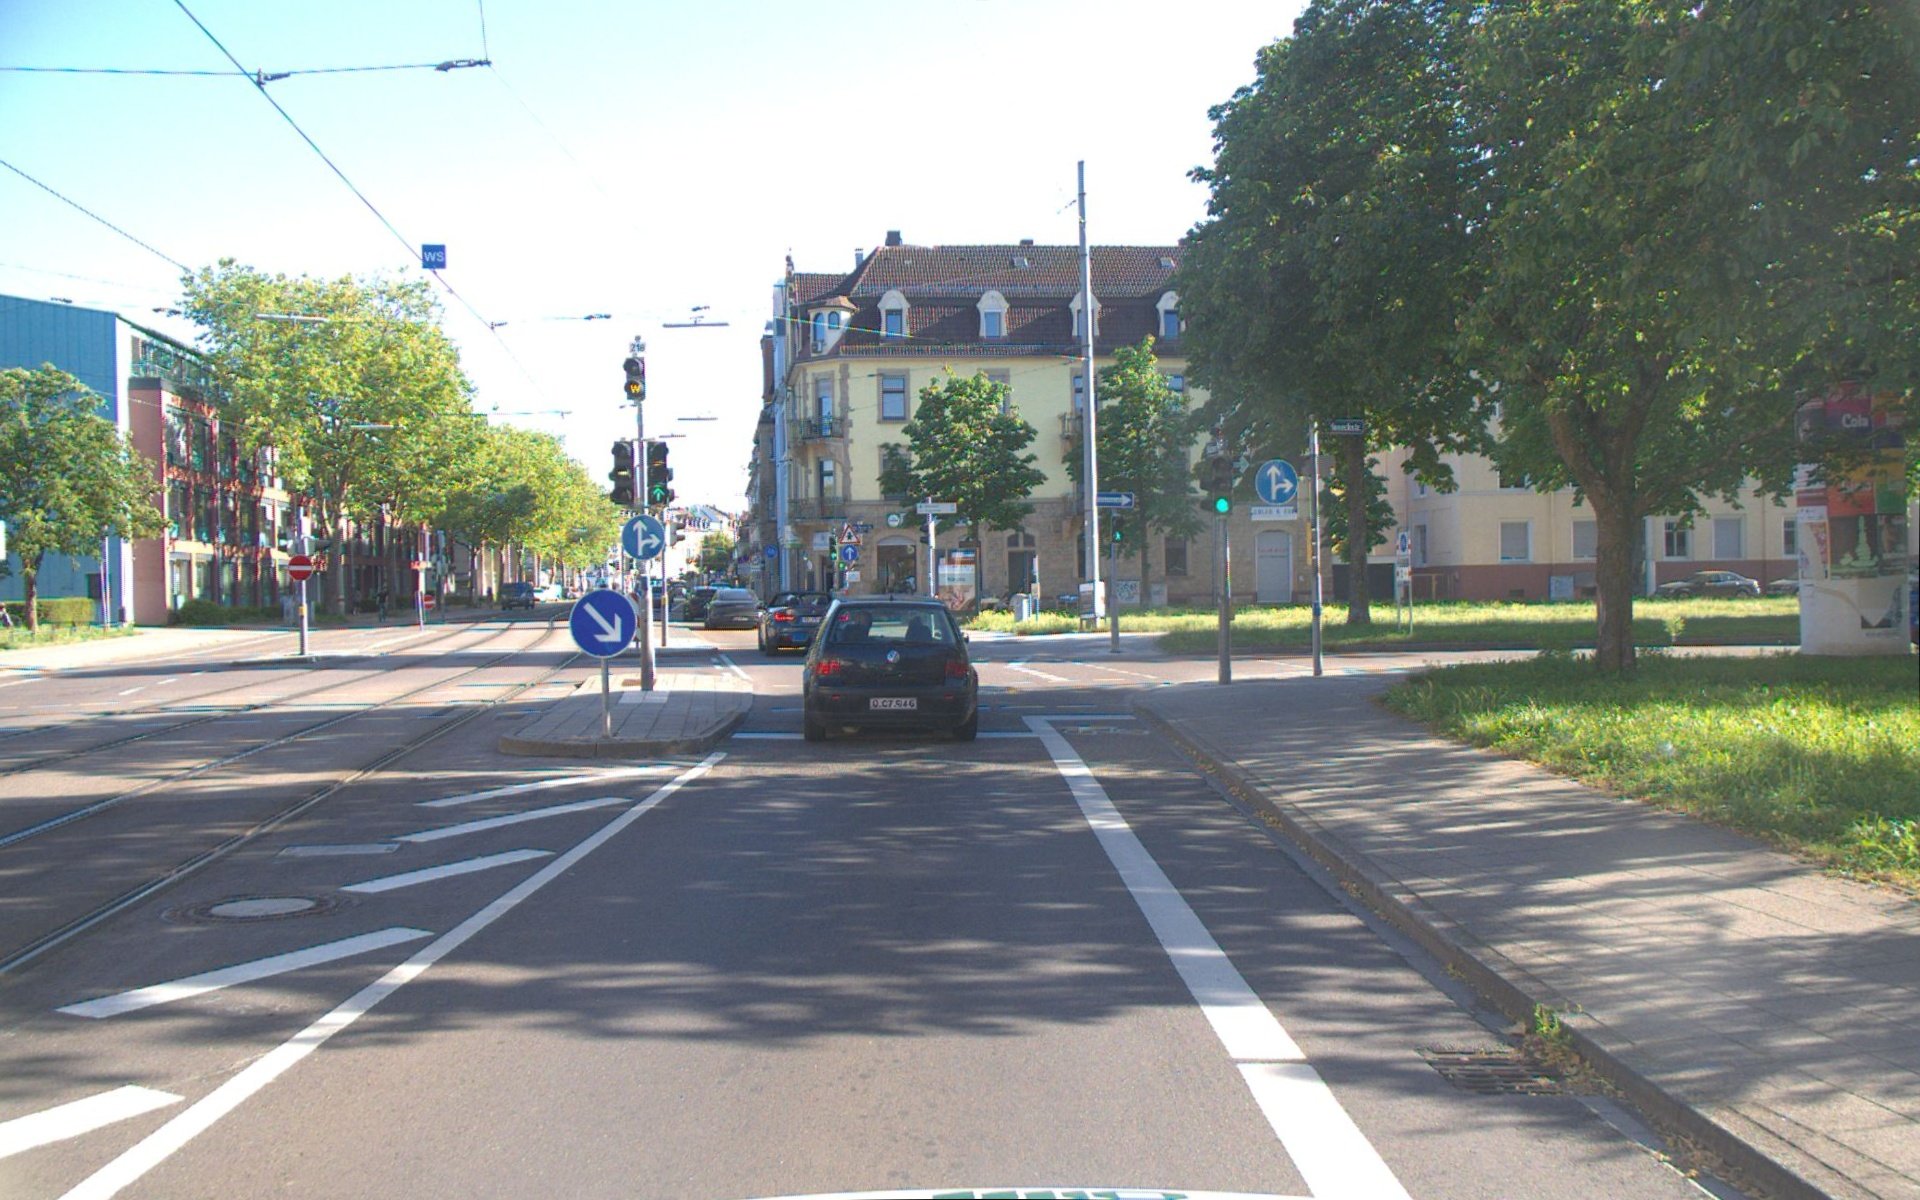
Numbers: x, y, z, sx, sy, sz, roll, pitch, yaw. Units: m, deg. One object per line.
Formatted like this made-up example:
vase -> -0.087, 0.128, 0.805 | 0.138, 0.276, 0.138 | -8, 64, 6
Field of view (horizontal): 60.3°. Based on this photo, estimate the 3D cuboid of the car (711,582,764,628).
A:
car -> -7.619, 0.144, 56.427 | 1.542, 1.334, 3.638 | -2, 3, -11

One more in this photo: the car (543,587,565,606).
car -> -43.842, -0.362, 178.609 | 1.957, 2.049, 3.991 | -1, 0, -10

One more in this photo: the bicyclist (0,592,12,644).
bicyclist -> -35.884, 0.669, 61.390 | 1.096, 1.917, 0.443 | -2, 0, -45

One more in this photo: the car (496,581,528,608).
car -> -31.330, -0.385, 115.833 | 1.937, 1.847, 4.283 | -2, 1, -13

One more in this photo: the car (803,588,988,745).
car -> -0.636, 0.590, 17.072 | 1.681, 1.427, 4.005 | 0, 0, -2

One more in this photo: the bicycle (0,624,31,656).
bicycle -> -35.674, 1.504, 61.489 | 1.902, 1.125, 0.554 | -2, 1, -43

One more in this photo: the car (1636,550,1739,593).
car -> 32.913, -1.288, 74.886 | 3.881, 1.847, 1.758 | -1, 1, -7

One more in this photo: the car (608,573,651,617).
car -> -14.609, -0.249, 73.334 | 1.755, 1.892, 3.990 | -1, 1, -10

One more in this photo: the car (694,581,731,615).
car -> -11.137, -0.101, 74.223 | 1.541, 1.334, 3.493 | -2, 3, -10

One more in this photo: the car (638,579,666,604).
car -> -18.871, -0.515, 101.438 | 1.651, 1.479, 3.371 | -2, 1, -10

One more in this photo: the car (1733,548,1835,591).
car -> 37.706, -1.409, 75.723 | 3.881, 1.847, 1.758 | -1, 1, -7

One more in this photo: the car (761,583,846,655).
car -> -3.374, 0.364, 35.175 | 1.604, 1.396, 3.751 | -2, 1, -8

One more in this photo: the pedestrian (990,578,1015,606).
pedestrian -> 1.902, -0.348, 73.734 | 0.961, 1.208, 0.742 | -1, 1, -9

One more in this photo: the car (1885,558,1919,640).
car -> 19.174, -0.068, 30.053 | 3.916, 1.474, 1.785 | -2, 1, -12

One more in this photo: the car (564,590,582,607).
car -> -49.721, -0.215, 212.560 | 1.957, 2.049, 3.991 | -1, 0, -10
